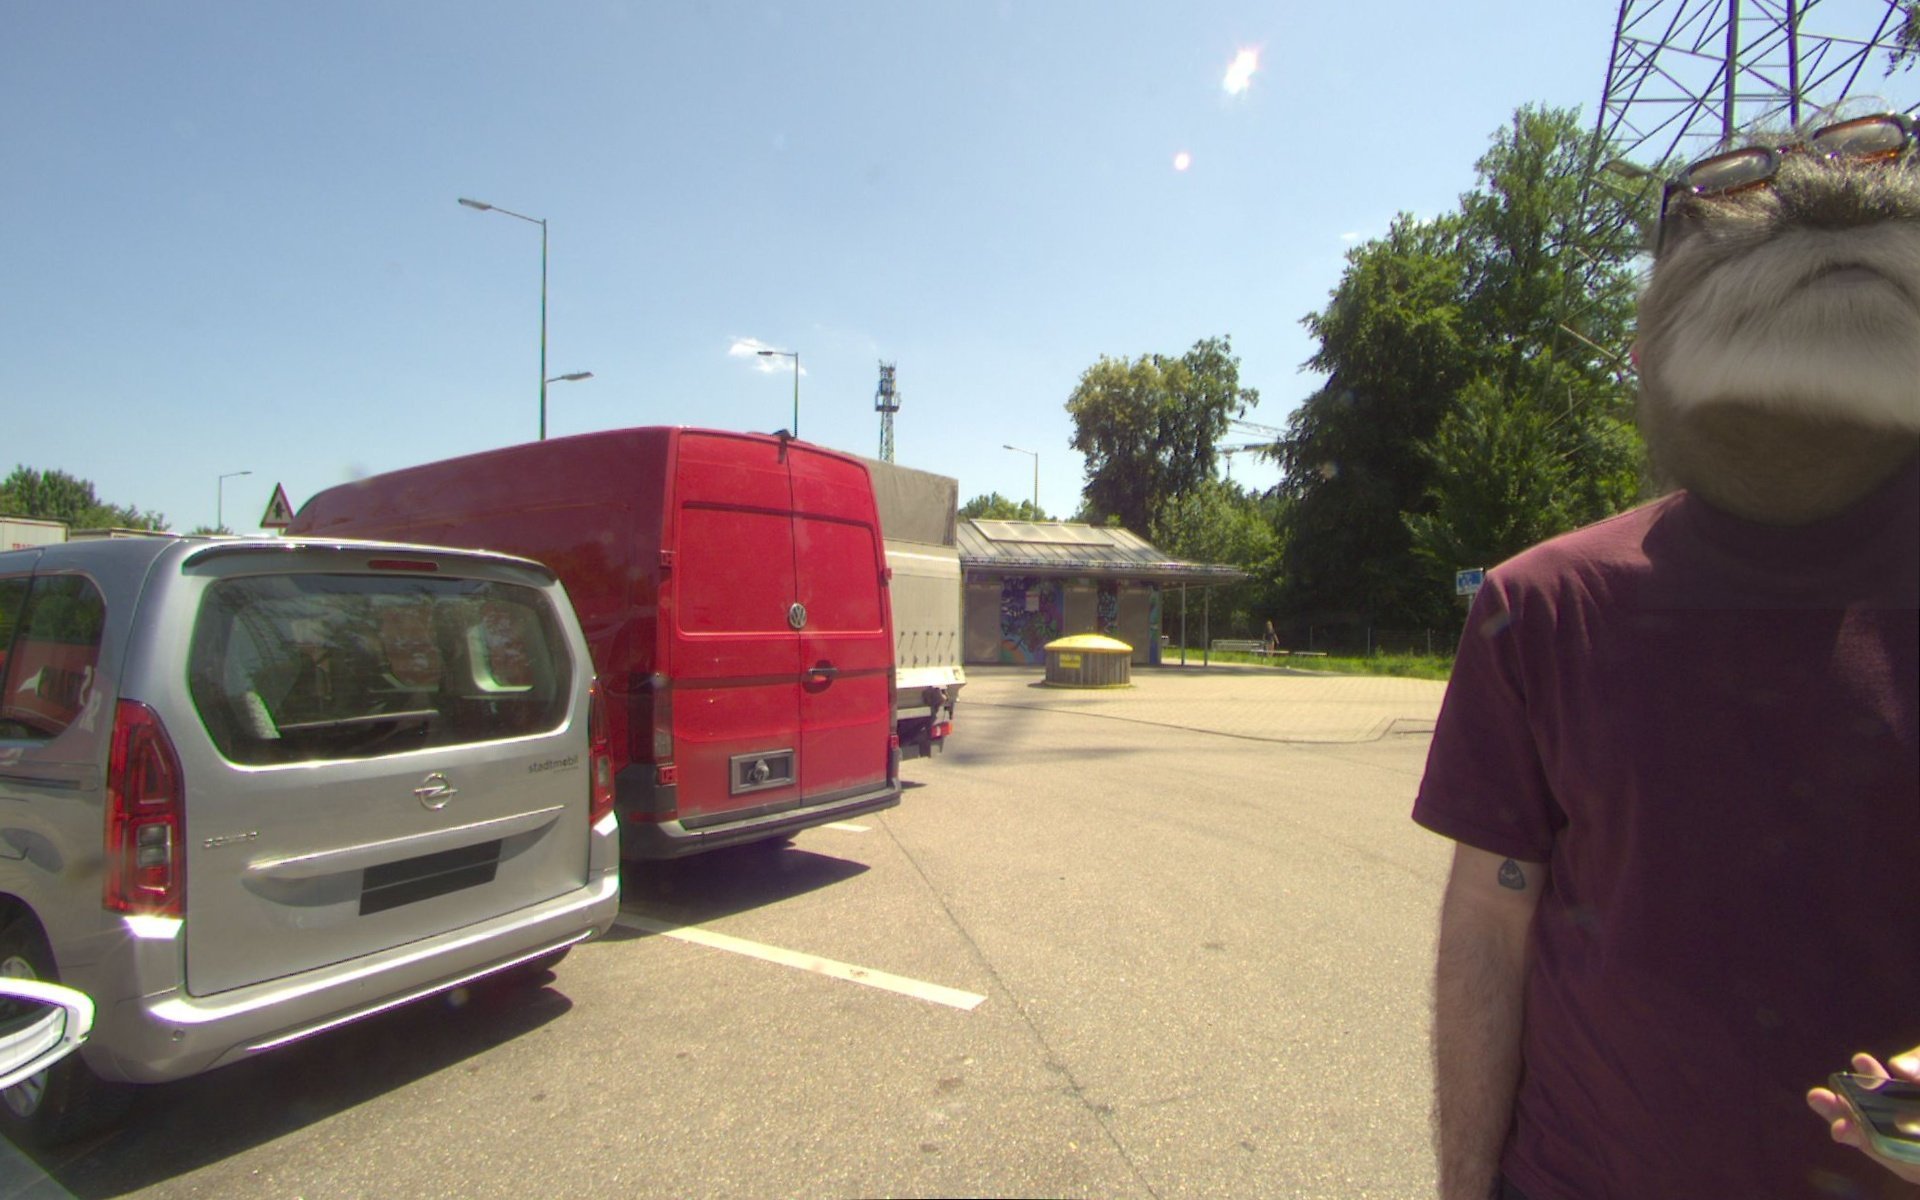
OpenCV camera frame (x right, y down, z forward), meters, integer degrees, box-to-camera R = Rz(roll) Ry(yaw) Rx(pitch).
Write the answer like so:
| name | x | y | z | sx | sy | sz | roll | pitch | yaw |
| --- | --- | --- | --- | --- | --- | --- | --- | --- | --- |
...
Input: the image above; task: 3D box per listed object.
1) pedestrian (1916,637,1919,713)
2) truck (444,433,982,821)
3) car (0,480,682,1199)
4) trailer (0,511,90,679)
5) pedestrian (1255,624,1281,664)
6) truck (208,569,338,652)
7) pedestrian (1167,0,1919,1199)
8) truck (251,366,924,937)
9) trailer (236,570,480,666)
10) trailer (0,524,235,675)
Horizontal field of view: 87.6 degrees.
| name | x | y | z | sx | sy | sz | roll | pitch | yaw |
| --- | --- | --- | --- | --- | --- | --- | --- | --- | --- |
| pedestrian | 17.256 | 1.322 | 17.487 | 0.690 | 1.352 | 0.561 | -1 | -1 | 33 |
| truck | -2.739 | 0.301 | 10.296 | 5.581 | 2.949 | 2.449 | -2 | -2 | 37 |
| car | -3.383 | 0.683 | 4.257 | 4.113 | 1.887 | 1.868 | 1 | -2 | 31 |
| trailer | -29.019 | -0.267 | 28.148 | 14.184 | 4.040 | 2.808 | 2 | -2 | 33 |
| pedestrian | 12.813 | 1.830 | 41.655 | 0.729 | 1.658 | 0.786 | -1 | -2 | 43 |
| truck | -32.098 | 0.460 | 46.767 | 5.813 | 3.566 | 2.799 | 2 | -2 | 32 |
| pedestrian | 0.741 | 0.559 | 0.819 | 0.850 | 1.857 | 0.859 | -1 | -1 | 35 |
| truck | -2.890 | 0.333 | 7.057 | 5.238 | 2.655 | 1.972 | -2 | -2 | 38 |
| trailer | -26.103 | 0.639 | 42.910 | 14.184 | 3.552 | 2.808 | 2 | -2 | 33 |
| trailer | -27.955 | -0.109 | 31.794 | 14.184 | 4.040 | 2.808 | 2 | -2 | 33 |
